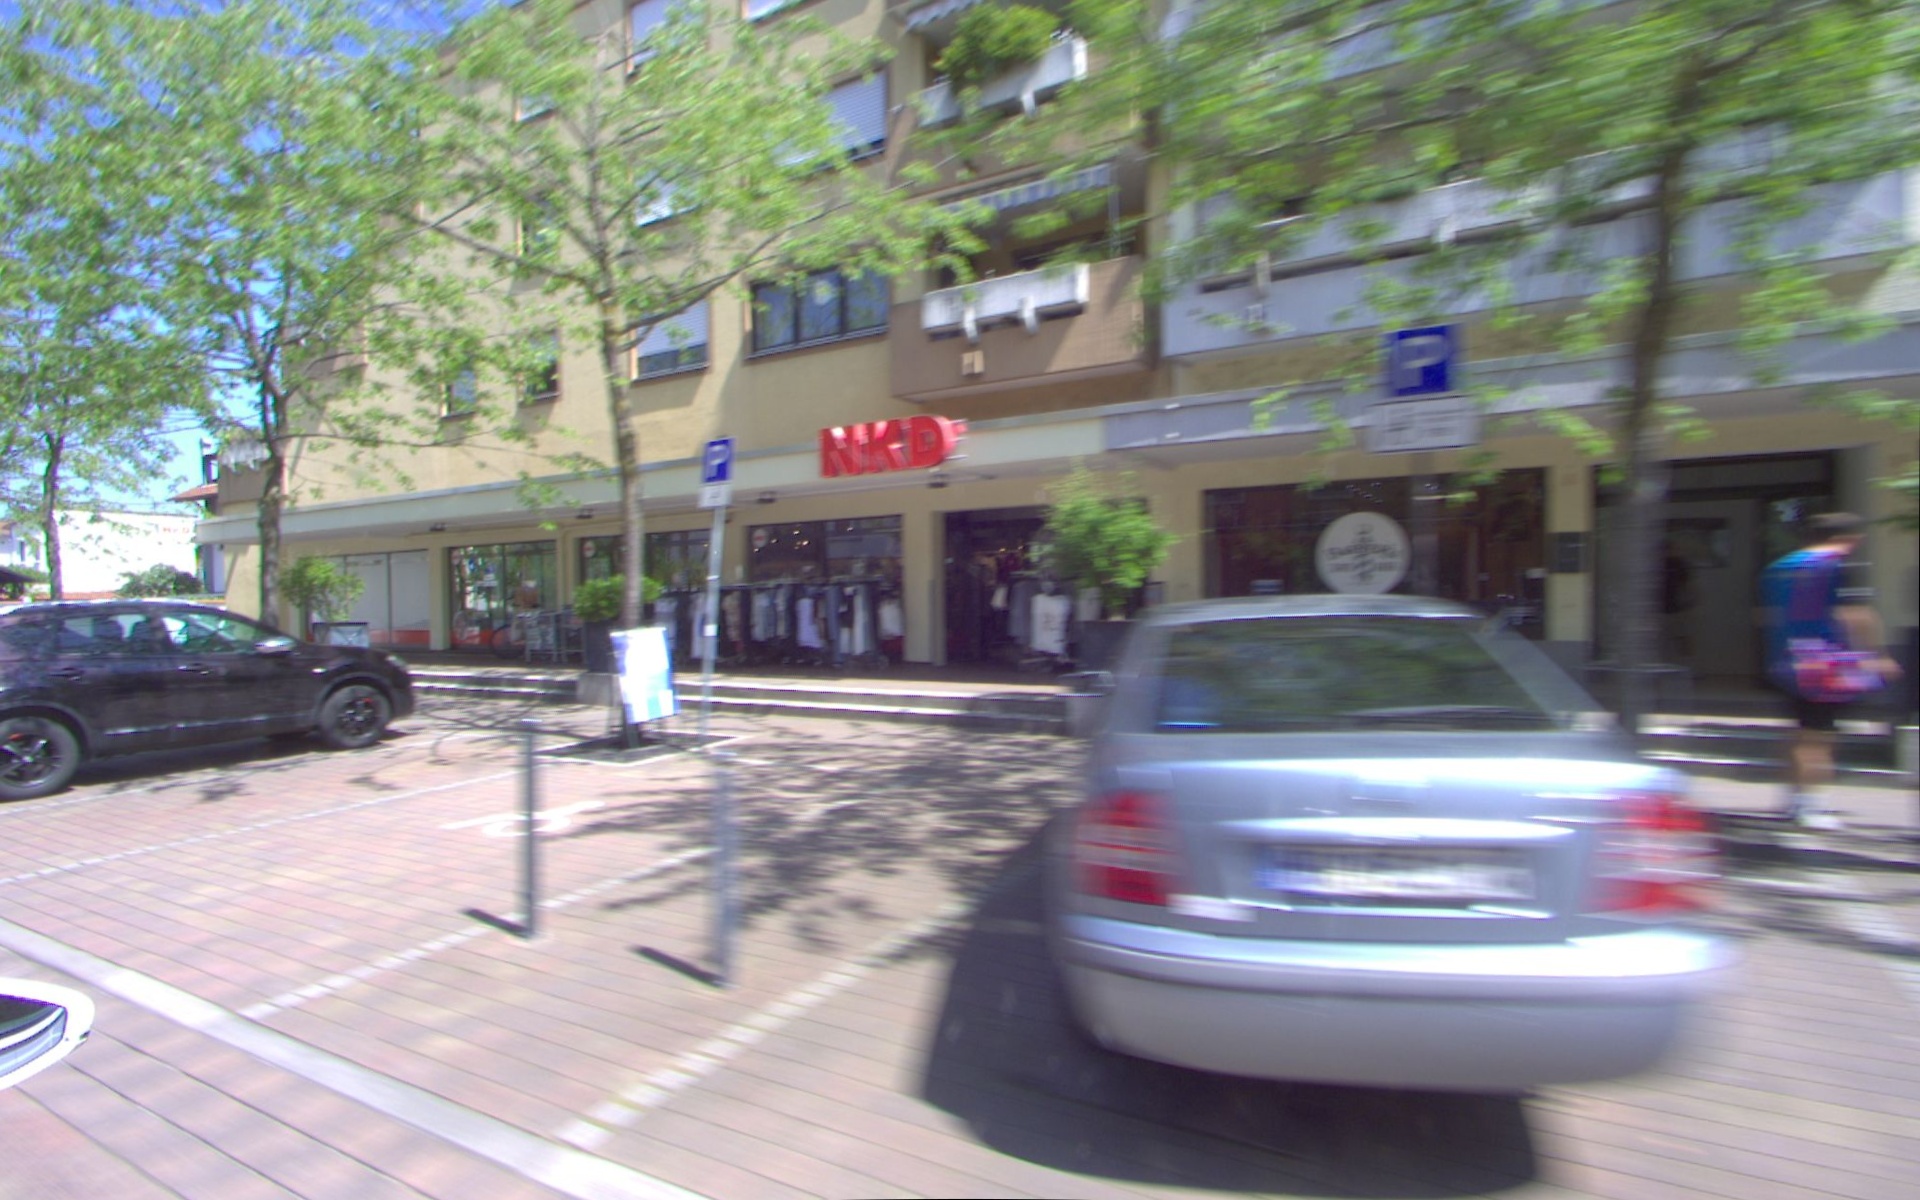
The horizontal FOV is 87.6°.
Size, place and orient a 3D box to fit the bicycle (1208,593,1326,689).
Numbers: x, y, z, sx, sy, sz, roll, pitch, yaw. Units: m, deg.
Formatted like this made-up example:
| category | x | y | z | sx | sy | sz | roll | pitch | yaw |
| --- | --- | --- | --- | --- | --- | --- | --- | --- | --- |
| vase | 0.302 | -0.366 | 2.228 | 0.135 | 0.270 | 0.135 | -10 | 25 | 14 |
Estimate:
| category | x | y | z | sx | sy | sz | roll | pitch | yaw |
| --- | --- | --- | --- | --- | --- | --- | --- | --- | --- |
| bicycle | 3.587 | 0.480 | 11.715 | 1.291 | 1.081 | 0.360 | -1 | -1 | 21 |

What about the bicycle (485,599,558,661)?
| category | x | y | z | sx | sy | sz | roll | pitch | yaw |
| --- | --- | --- | --- | --- | --- | --- | --- | --- | --- |
| bicycle | -8.427 | 0.586 | 19.218 | 1.750 | 1.138 | 0.411 | -2 | -1 | 33 |

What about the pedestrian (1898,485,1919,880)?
| category | x | y | z | sx | sy | sz | roll | pitch | yaw |
| --- | --- | --- | --- | --- | --- | --- | --- | --- | --- |
| pedestrian | 4.802 | 0.380 | 4.631 | 0.620 | 1.819 | 0.601 | 0 | 0 | -39 |

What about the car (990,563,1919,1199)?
| category | x | y | z | sx | sy | sz | roll | pitch | yaw |
| --- | --- | --- | --- | --- | --- | --- | --- | --- | --- |
| car | 1.404 | 0.686 | 4.318 | 1.855 | 1.483 | 4.384 | -1 | 0 | 11 |

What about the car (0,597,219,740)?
| category | x | y | z | sx | sy | sz | roll | pitch | yaw |
| --- | --- | --- | --- | --- | --- | --- | --- | --- | --- |
| car | -11.886 | 0.820 | 11.971 | 1.824 | 1.610 | 4.496 | -1 | 1 | 33 |

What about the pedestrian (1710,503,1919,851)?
| category | x | y | z | sx | sy | sz | roll | pitch | yaw |
| --- | --- | --- | --- | --- | --- | --- | --- | --- | --- |
| pedestrian | 4.701 | 0.407 | 5.515 | 0.674 | 1.796 | 0.631 | 0 | 0 | 6 |

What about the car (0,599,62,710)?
| category | x | y | z | sx | sy | sz | roll | pitch | yaw |
| --- | --- | --- | --- | --- | --- | --- | --- | --- | --- |
| car | -16.360 | 0.884 | 14.722 | 1.970 | 1.703 | 4.273 | -1 | 1 | 29 |

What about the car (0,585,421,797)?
| category | x | y | z | sx | sy | sz | roll | pitch | yaw |
| --- | --- | --- | --- | --- | --- | --- | --- | --- | --- |
| car | -7.640 | 0.730 | 9.613 | 1.657 | 1.634 | 4.018 | -1 | 1 | 31 |
